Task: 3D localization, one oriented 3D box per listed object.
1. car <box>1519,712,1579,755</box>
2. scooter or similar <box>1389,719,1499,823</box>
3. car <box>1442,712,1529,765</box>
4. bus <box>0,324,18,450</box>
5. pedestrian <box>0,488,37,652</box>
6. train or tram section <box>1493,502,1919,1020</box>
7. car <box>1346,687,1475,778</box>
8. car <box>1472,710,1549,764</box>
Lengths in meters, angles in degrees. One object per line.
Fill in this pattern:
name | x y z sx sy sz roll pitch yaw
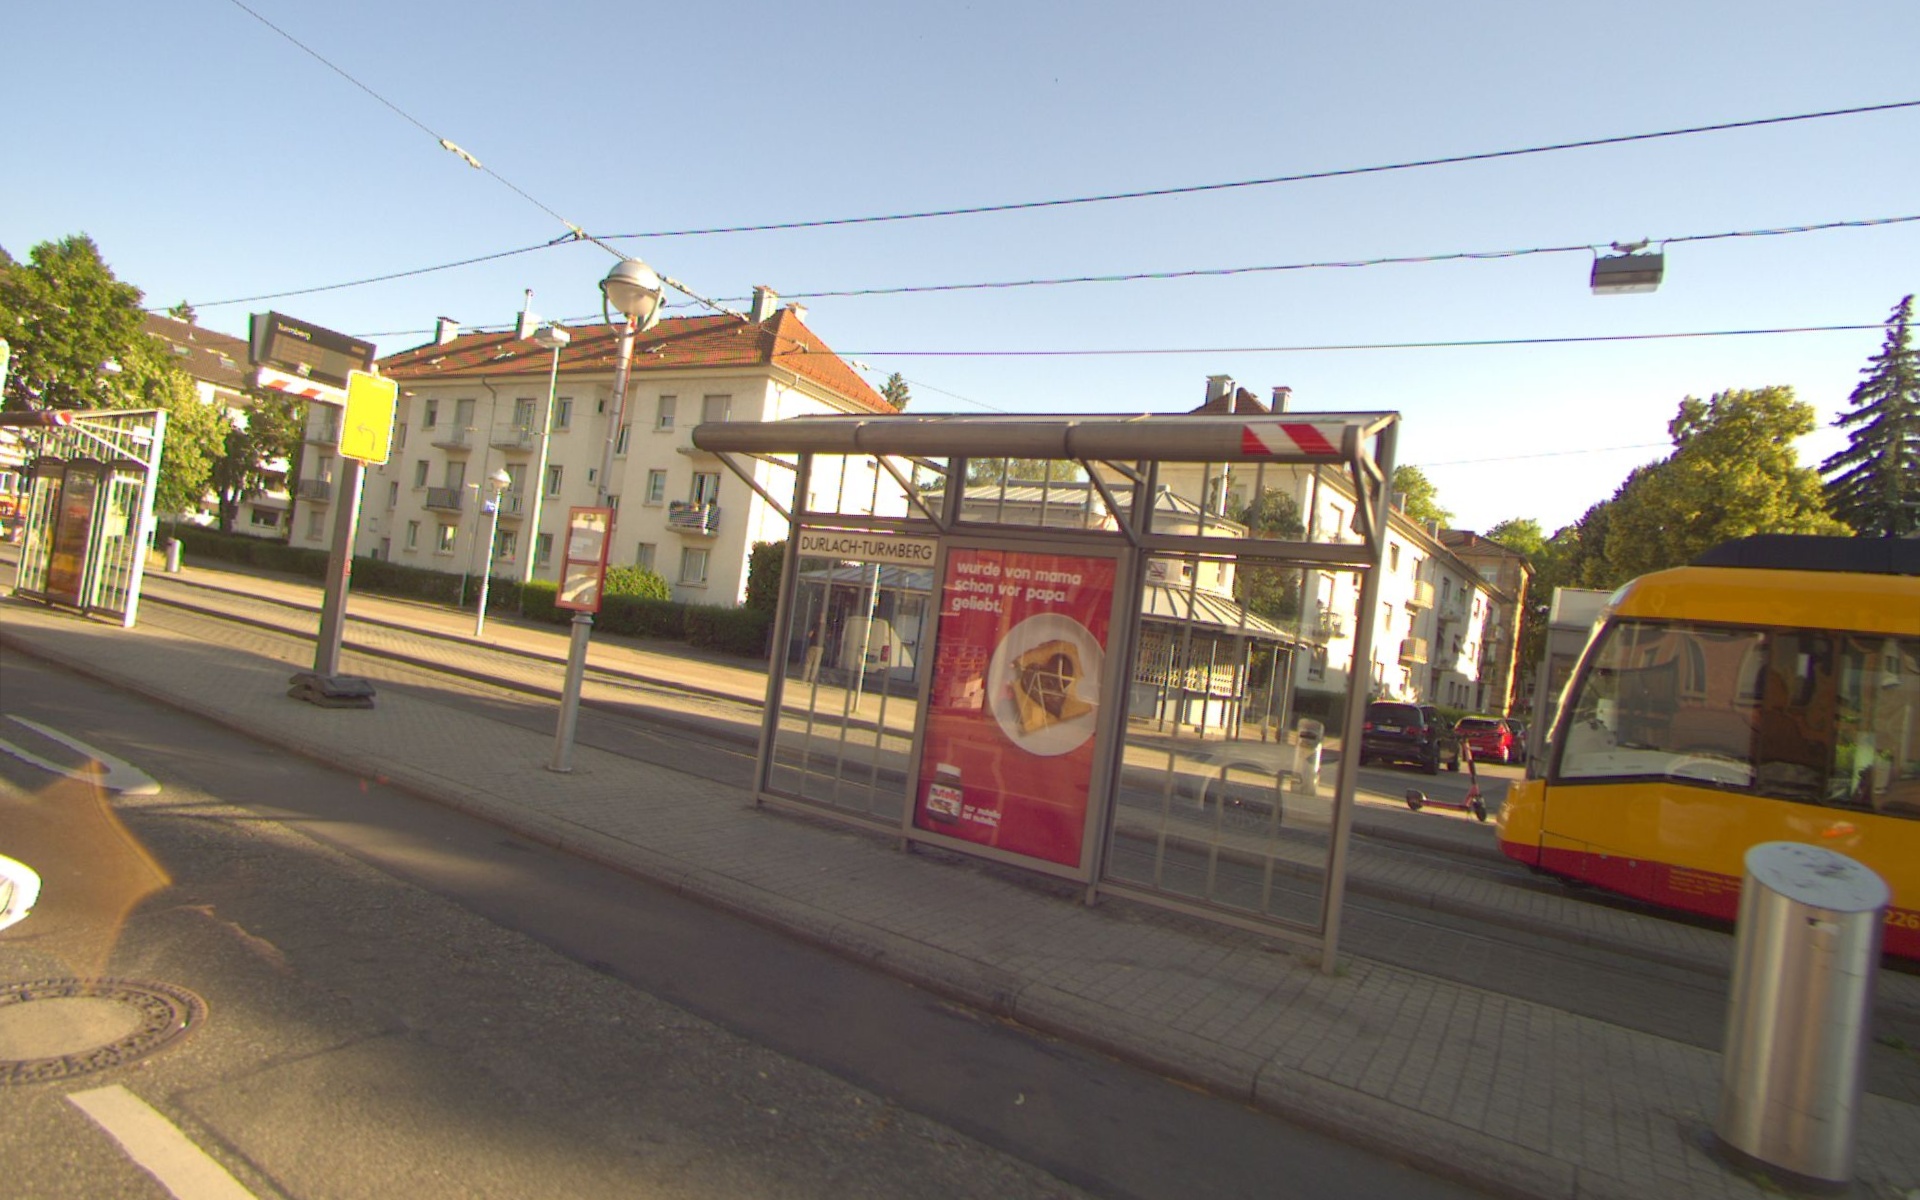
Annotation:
car | 26.880 6.085 45.830 1.767 1.640 3.798 5 -3 38
scooter or similar | 6.775 2.377 14.106 1.193 1.222 0.465 6 -2 43
car | 17.174 4.493 32.820 1.767 1.405 3.798 5 -3 38
bus | -16.505 -2.088 13.309 11.819 3.455 2.694 7 -2 32
pedestrian | -9.821 -0.322 10.013 0.540 1.631 0.545 8 -1 -6
train or tram section | 12.062 1.706 5.588 15.707 3.575 2.962 5 -2 32
car | 11.309 3.257 25.071 1.969 1.790 4.442 6 -2 35
car | 20.286 5.013 37.007 1.767 1.640 3.798 5 -3 38
